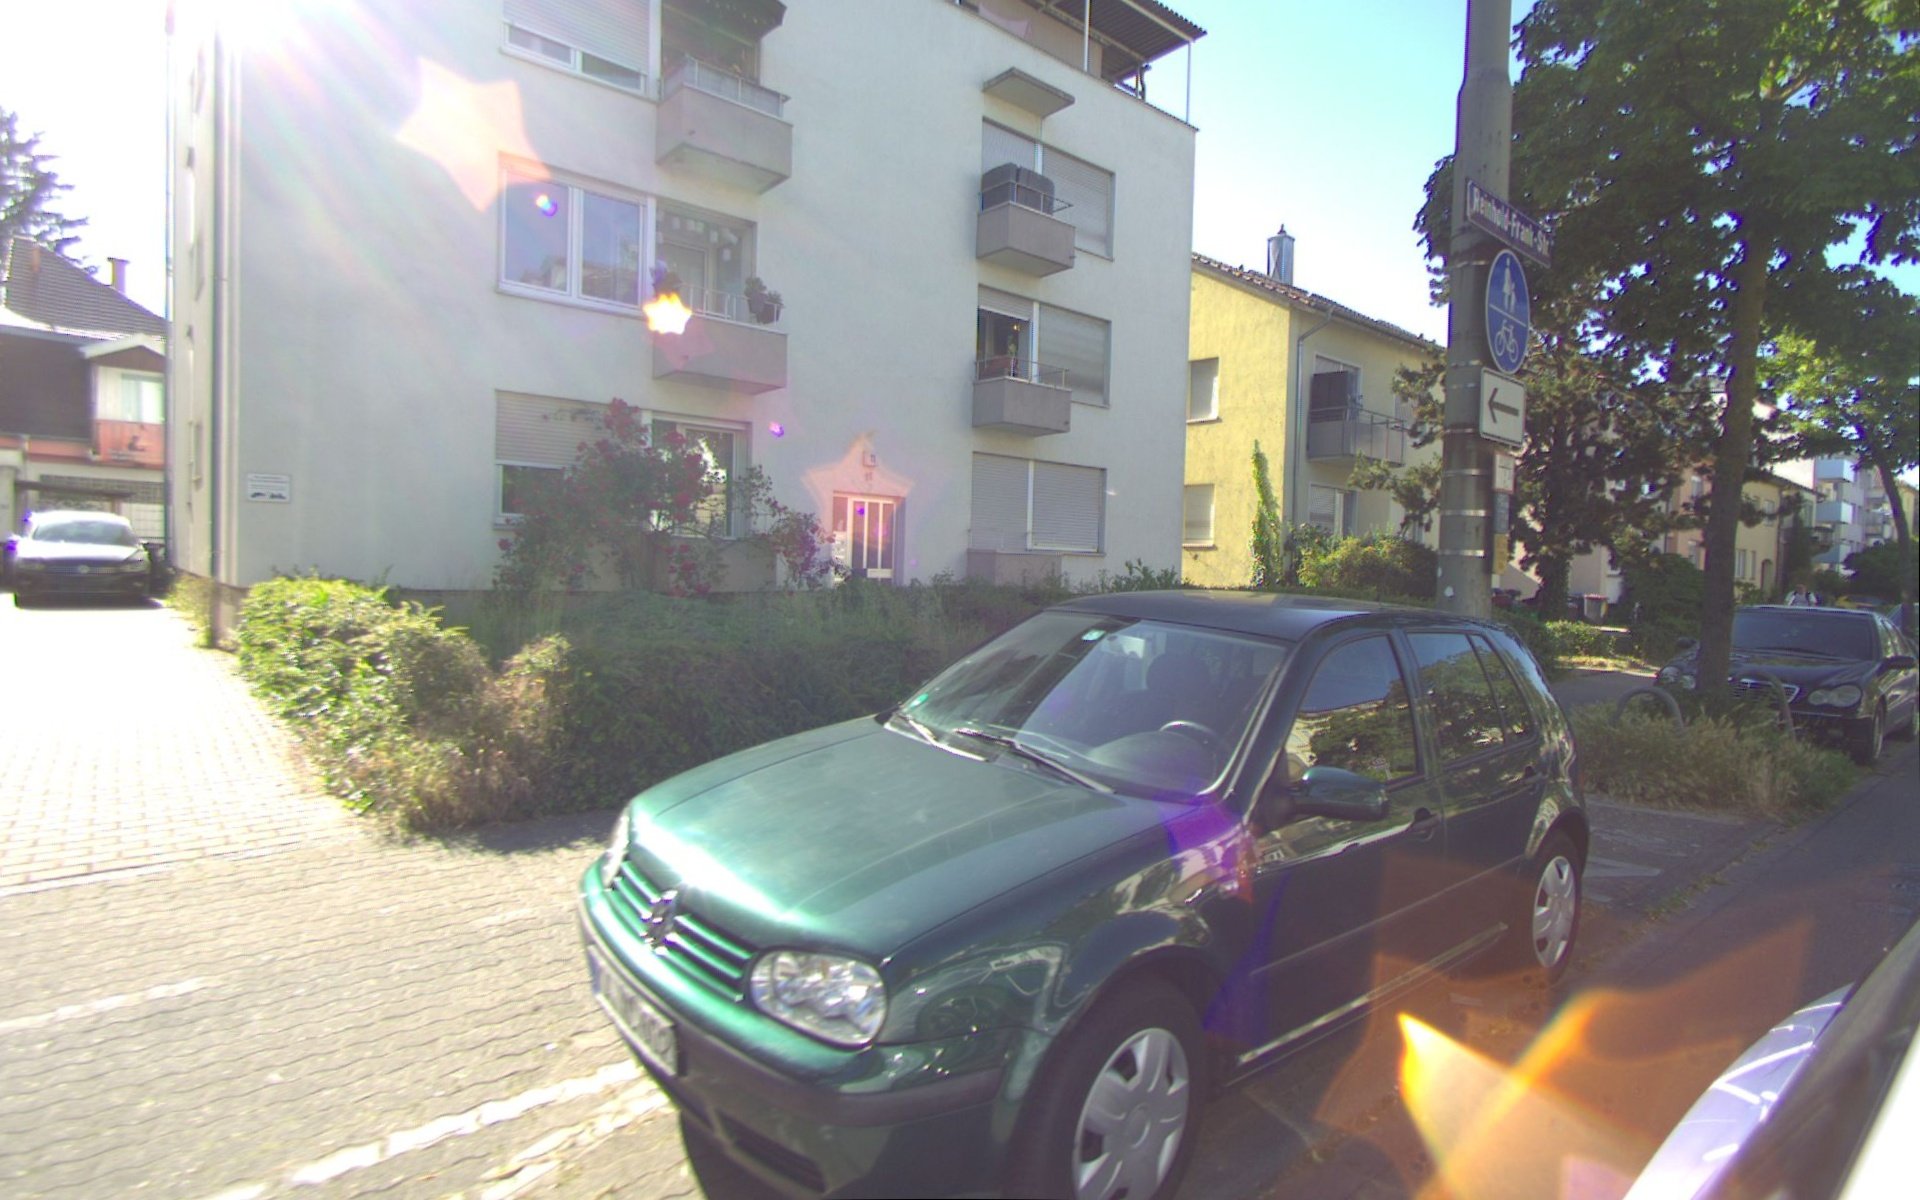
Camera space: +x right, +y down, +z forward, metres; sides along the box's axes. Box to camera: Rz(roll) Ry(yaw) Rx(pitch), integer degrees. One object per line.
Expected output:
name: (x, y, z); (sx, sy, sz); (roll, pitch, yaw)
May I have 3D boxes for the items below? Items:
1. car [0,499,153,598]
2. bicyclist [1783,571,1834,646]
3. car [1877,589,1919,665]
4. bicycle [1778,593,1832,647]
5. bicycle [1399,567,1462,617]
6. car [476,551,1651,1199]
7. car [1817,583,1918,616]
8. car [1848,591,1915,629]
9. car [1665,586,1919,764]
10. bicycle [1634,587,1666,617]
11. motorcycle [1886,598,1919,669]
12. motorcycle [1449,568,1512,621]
car: (-15.513, -0.912, 17.959); (1.846, 1.544, 3.998); (0, 3, -39)
bicyclist: (21.172, 0.200, 25.261); (0.998, 1.815, 0.725); (1, 3, -41)
car: (21.004, 0.581, 21.559); (3.583, 1.517, 1.624); (0, 3, -39)
bicycle: (21.130, 0.491, 25.292); (1.790, 1.262, 0.699); (0, 3, -41)
bicycle: (13.113, -0.214, 28.165); (2.383, 1.319, 0.599); (0, 3, -41)
car: (0.724, 0.634, 3.545); (4.073, 1.445, 1.696); (0, 3, -40)
car: (52.074, -0.054, 58.131); (1.799, 1.458, 3.999); (0, 6, -40)
car: (38.036, 0.381, 41.746); (3.653, 1.372, 1.536); (0, 5, -41)
car: (9.066, 0.640, 10.618); (4.375, 1.412, 1.590); (0, 4, -40)
bicycle: (24.704, 0.063, 36.232); (1.713, 1.004, 0.456); (-1, 5, -41)
motorcycle: (18.400, 0.669, 18.924); (0.692, 1.287, 2.415); (4, 3, 21)
motorcycle: (14.455, -0.137, 28.074); (2.383, 1.392, 0.637); (0, 3, -41)
